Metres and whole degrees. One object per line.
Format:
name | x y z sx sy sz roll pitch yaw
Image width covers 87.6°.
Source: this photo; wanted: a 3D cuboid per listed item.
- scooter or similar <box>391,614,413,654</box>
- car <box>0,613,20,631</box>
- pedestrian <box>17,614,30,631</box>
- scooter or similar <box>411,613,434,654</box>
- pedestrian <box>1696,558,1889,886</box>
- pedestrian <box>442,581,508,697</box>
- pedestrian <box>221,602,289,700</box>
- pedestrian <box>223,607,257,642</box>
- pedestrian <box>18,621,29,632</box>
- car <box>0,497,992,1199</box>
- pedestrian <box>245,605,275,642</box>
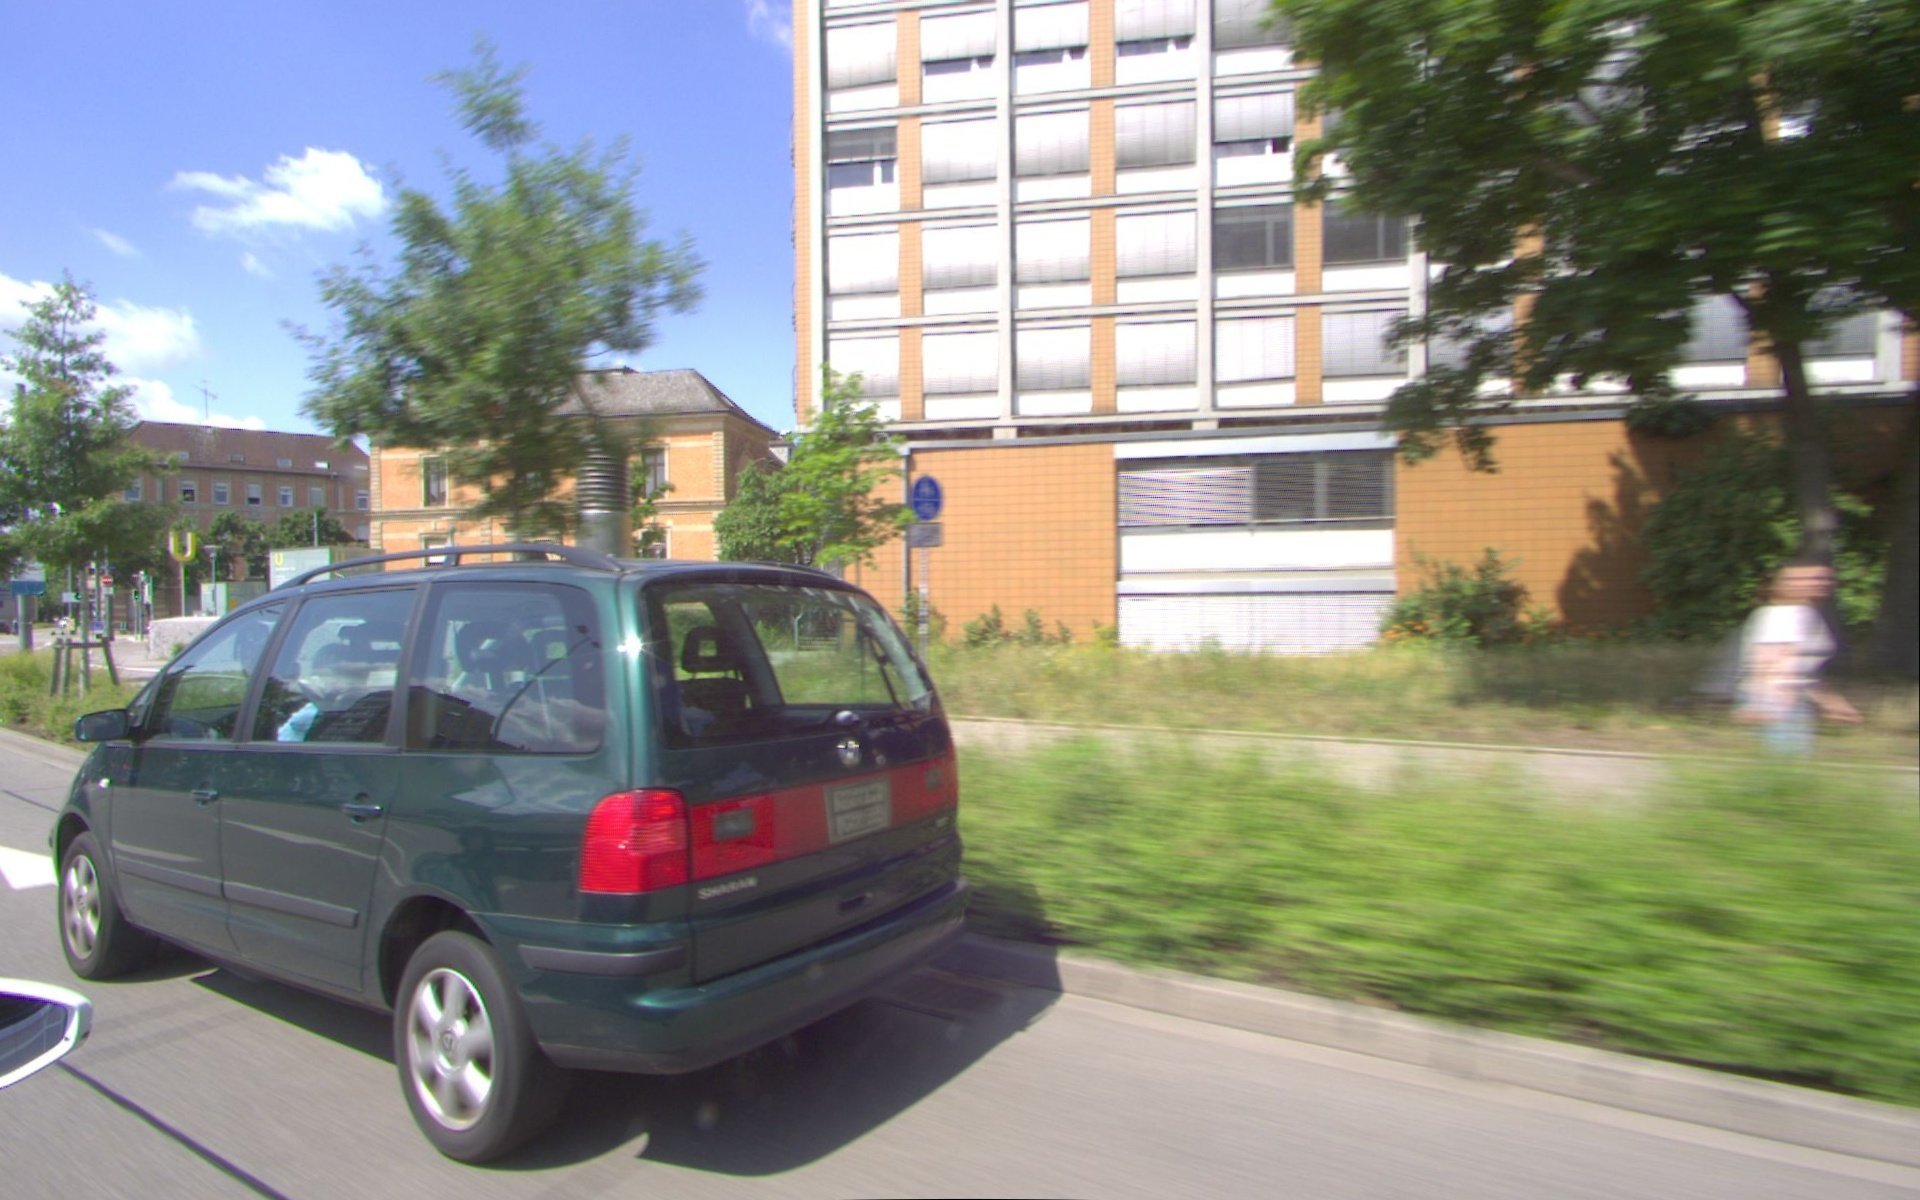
scooter or similar | -16.678 1.001 29.944 0.227 1.139 1.281 0 1 -14
car | -89.307 2.039 93.632 1.866 1.663 3.923 0 0 -40
pedestrian | -81.121 1.967 86.739 0.686 1.476 0.675 0 -1 -36
scooter or similar | -15.859 0.982 29.547 0.227 1.139 1.450 0 1 -14
pedestrian | 4.553 0.616 5.522 0.765 1.648 0.647 -1 2 38
pedestrian | -7.943 0.637 16.416 0.665 1.844 0.754 -1 -1 35
pedestrian | -11.916 0.855 16.931 0.752 1.610 0.753 -2 -1 38
pedestrian | -35.619 1.194 49.533 0.847 1.680 0.966 -2 1 5
pedestrian | -81.019 2.320 86.626 0.520 0.918 1.550 0 -2 -36
car | -2.195 0.706 4.279 4.386 1.744 1.791 -1 -3 33
pedestrian | -34.537 1.155 49.396 0.847 1.775 0.757 -2 1 5
